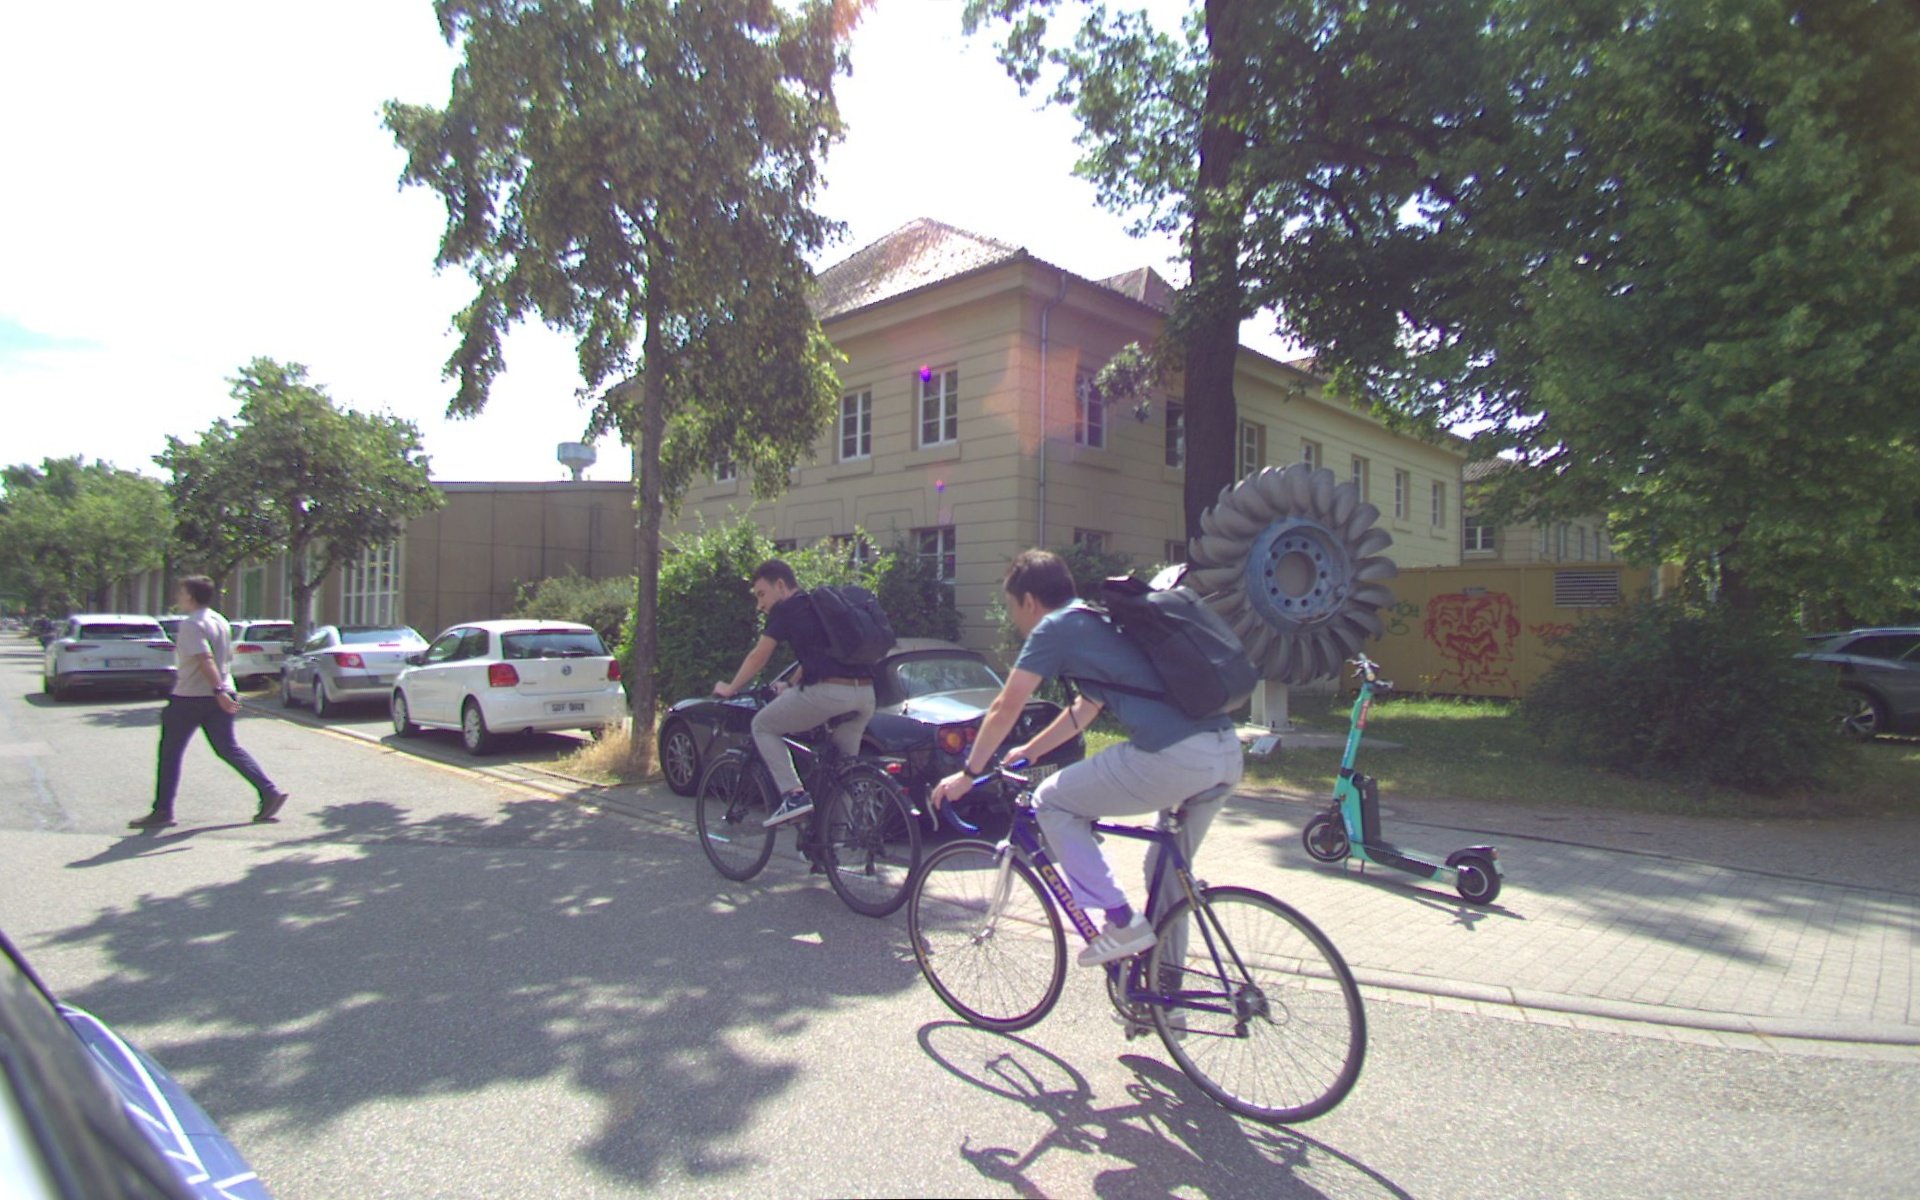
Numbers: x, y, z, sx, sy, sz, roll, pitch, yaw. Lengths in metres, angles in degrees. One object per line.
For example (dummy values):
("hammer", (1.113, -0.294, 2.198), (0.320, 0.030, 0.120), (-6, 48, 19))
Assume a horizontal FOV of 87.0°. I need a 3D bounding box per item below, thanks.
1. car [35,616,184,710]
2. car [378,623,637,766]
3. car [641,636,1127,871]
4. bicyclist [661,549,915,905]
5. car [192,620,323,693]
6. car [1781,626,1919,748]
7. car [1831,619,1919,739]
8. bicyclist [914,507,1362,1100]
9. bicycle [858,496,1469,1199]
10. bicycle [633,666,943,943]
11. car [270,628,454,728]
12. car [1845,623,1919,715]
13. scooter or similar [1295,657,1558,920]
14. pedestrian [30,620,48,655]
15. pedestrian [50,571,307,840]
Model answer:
("car", (-16.960, 1.176, 20.106), (1.905, 1.646, 4.375), (2, -2, -44))
("car", (-5.504, 1.008, 12.109), (3.634, 1.442, 1.612), (-1, -2, 45))
("car", (-0.756, 0.948, 7.729), (1.677, 1.305, 3.765), (3, -3, -44))
("bicyclist", (-0.925, 0.594, 5.300), (1.329, 1.618, 0.621), (-1, -3, 43))
("car", (-15.370, 1.179, 22.068), (1.693, 1.444, 4.003), (2, -2, -44))
("car", (14.090, 1.210, 13.574), (4.652, 1.593, 1.873), (0, -2, 44))
("car", (15.929, 1.239, 15.286), (4.126, 1.799, 1.786), (0, -2, 44))
("bicyclist", (0.518, 0.515, 3.125), (1.232, 1.464, 0.580), (-1, -3, 38))
("bicycle", (0.531, 0.625, 3.105), (1.756, 1.693, 0.581), (-1, -3, 38))
("bicycle", (-0.957, 0.952, 5.300), (1.812, 1.150, 0.618), (-1, -3, 43))
("car", (-9.666, 1.155, 16.229), (1.625, 1.387, 4.003), (2, -2, -44))
("car", (22.241, 1.542, 21.866), (1.785, 1.974, 4.533), (3, -2, -42))
("scooter or similar", (2.483, 0.938, 5.479), (0.463, 1.225, 1.206), (2, -3, -40))
("pedestrian", (-44.955, 1.830, 49.384), (0.529, 1.694, 0.587), (2, -3, -36))
("pedestrian", (-5.601, 0.732, 7.353), (1.078, 1.800, 0.984), (1, -3, -8))
